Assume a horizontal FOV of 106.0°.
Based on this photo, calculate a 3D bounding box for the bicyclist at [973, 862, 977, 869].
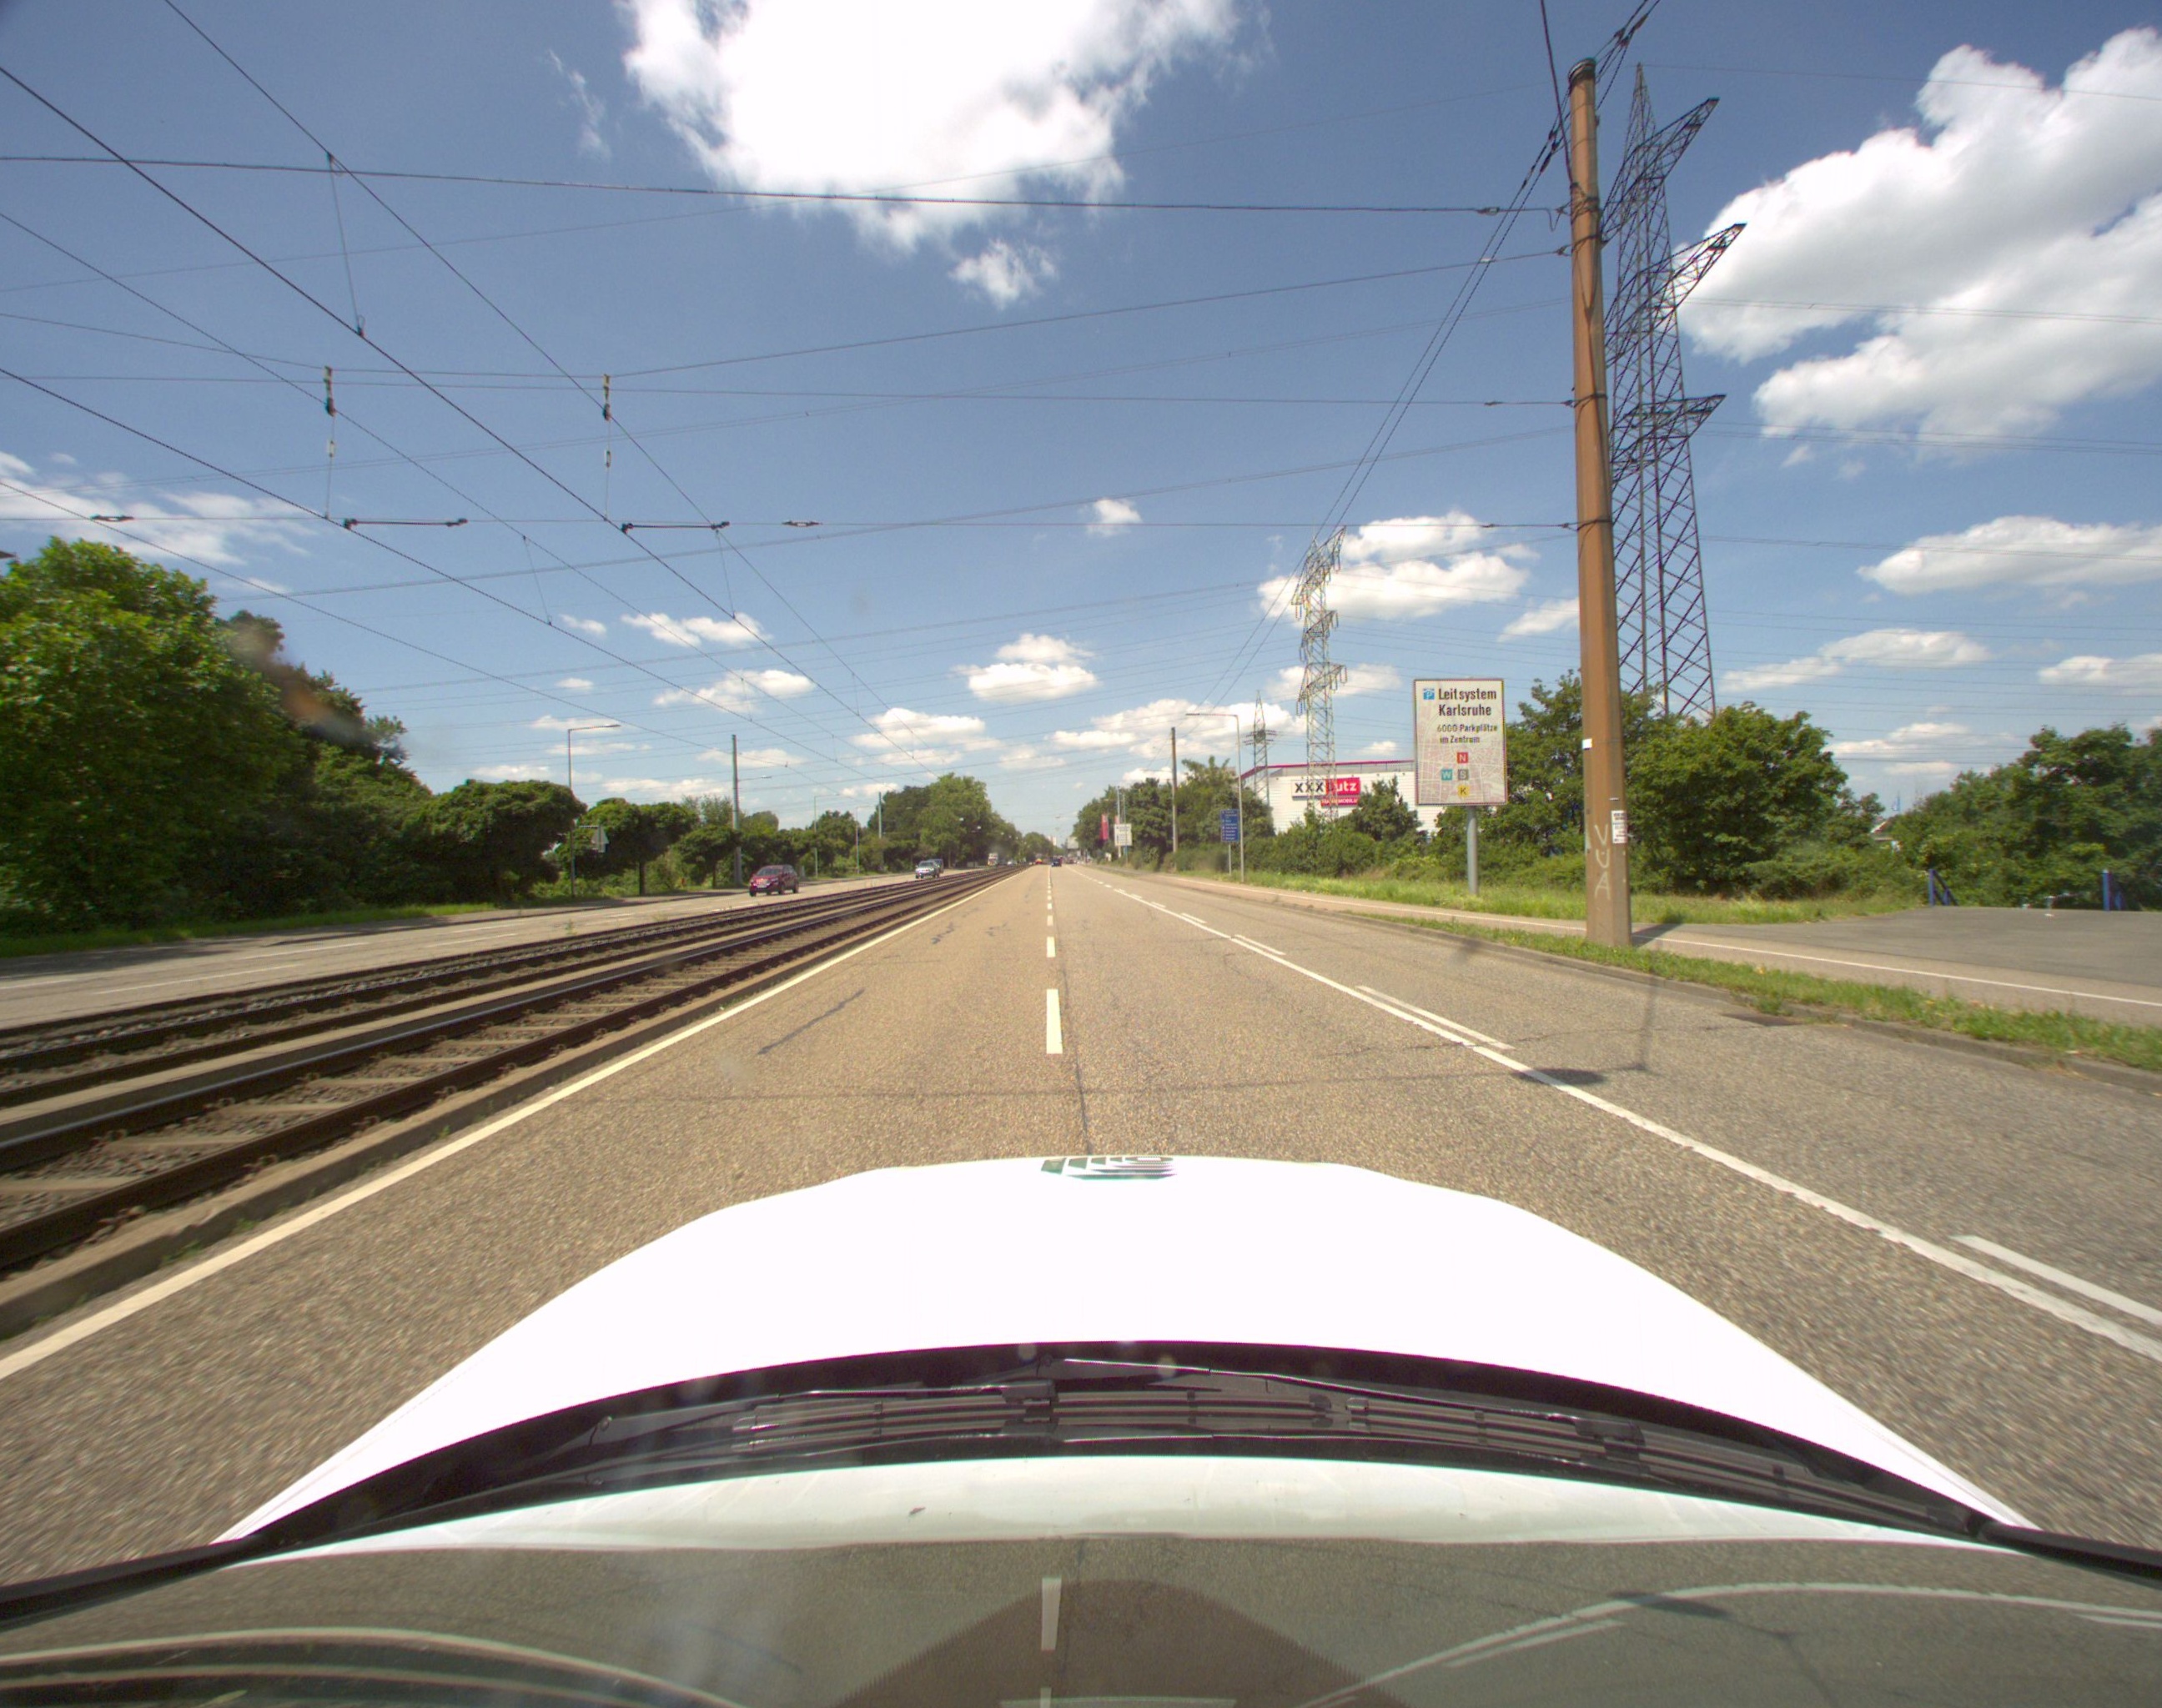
[{"bbox_3d":[-23.925,2.586,183.829,0.620,1.617,1.063,0,0,4],"label":"bicyclist"}]

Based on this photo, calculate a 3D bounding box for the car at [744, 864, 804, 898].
[{"bbox_3d":[-17.011,1.463,45.367,1.797,1.625,4.207,-3,0,-3],"label":"car"}]

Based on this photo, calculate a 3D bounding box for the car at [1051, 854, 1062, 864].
[{"bbox_3d":[-4.474,0.870,146.345,1.895,1.805,3.972,0,-1,-3],"label":"car"}]

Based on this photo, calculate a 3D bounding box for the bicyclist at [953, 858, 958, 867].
[{"bbox_3d":[-23.546,1.587,152.515,0.648,1.620,1.155,0,0,1],"label":"bicyclist"}]

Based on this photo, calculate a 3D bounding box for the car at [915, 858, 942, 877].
[{"bbox_3d":[-14.504,1.294,77.502,1.797,1.625,4.490,-3,0,-3],"label":"car"}]

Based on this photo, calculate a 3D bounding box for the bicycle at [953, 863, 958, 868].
[{"bbox_3d":[-23.555,2.092,152.605,0.648,0.859,2.121,0,0,2],"label":"bicycle"}]

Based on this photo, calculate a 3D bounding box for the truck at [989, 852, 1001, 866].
[{"bbox_3d":[-20.922,1.110,197.370,2.243,3.236,6.039,-2,0,-1],"label":"truck"}]

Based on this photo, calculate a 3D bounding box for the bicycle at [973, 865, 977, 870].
[{"bbox_3d":[-23.909,3.046,183.928,0.620,0.979,2.057,1,0,4],"label":"bicycle"}]

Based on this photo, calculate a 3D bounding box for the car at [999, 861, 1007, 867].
[{"bbox_3d":[-21.084,2.749,219.838,1.748,1.535,3.952,-3,0,-3],"label":"car"}]

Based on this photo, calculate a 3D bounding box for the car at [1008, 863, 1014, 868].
[{"bbox_3d":[-21.470,3.511,250.108,1.632,1.421,4.124,-3,0,-1],"label":"car"}]
